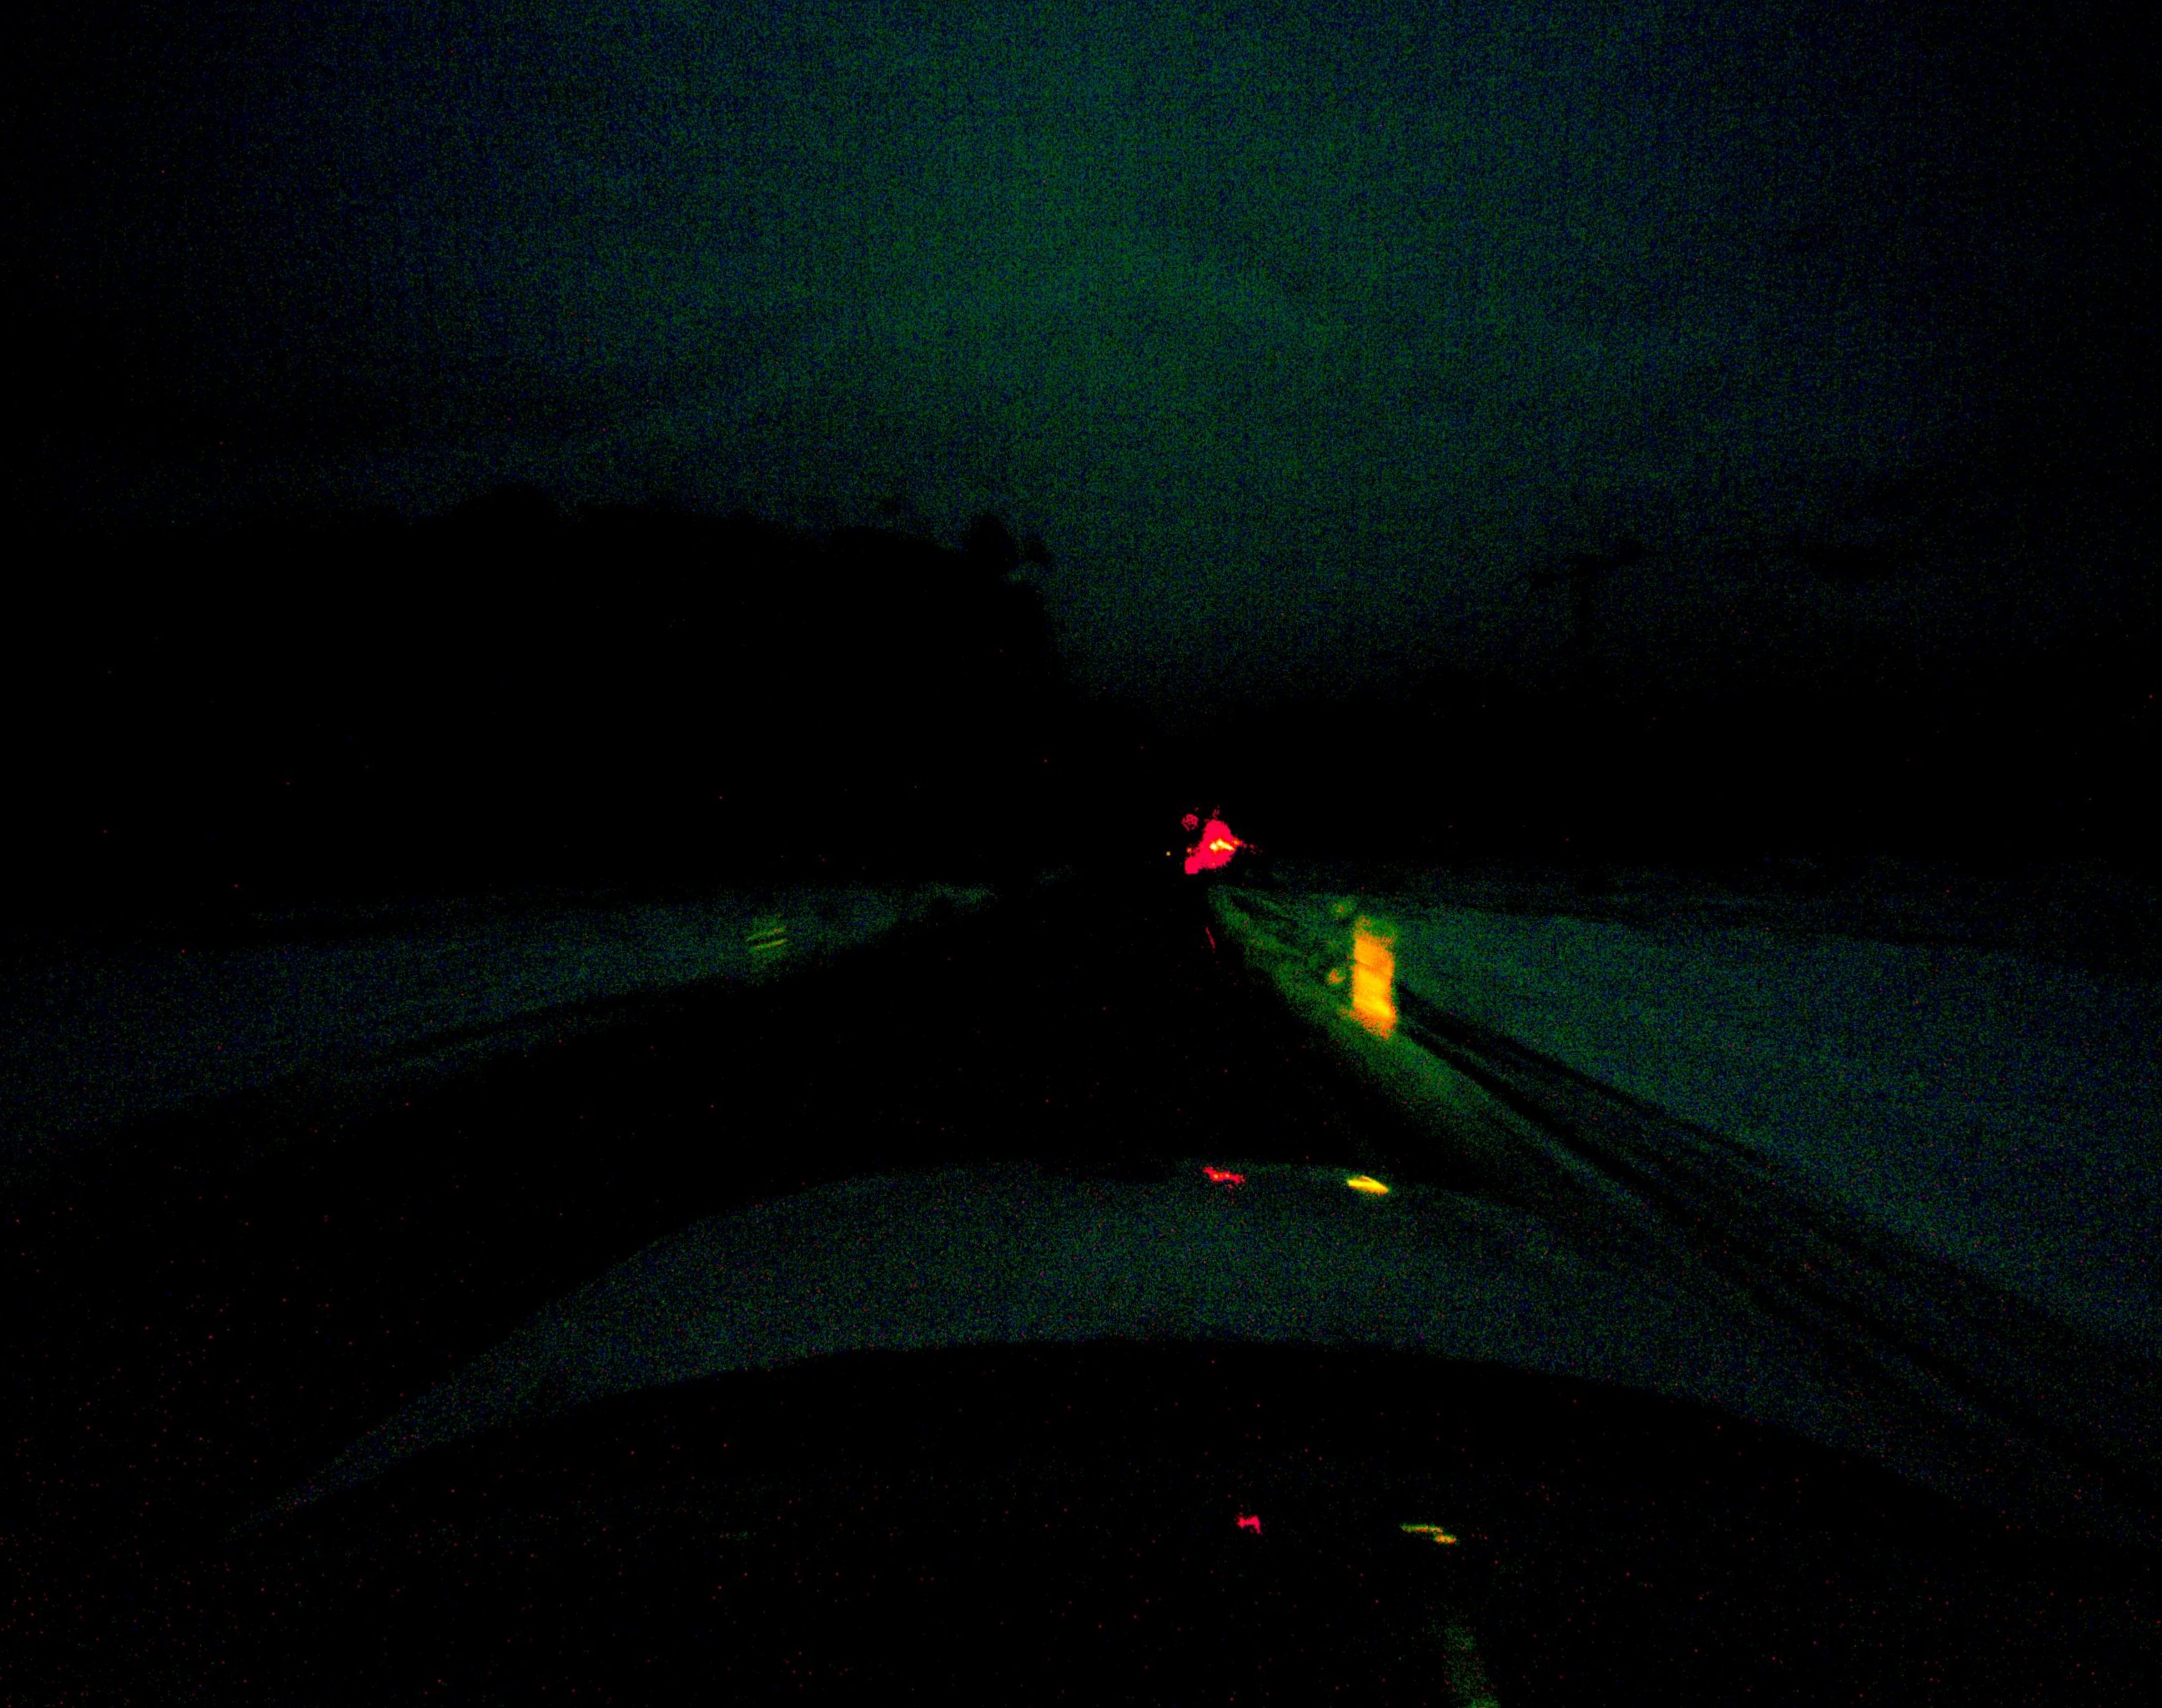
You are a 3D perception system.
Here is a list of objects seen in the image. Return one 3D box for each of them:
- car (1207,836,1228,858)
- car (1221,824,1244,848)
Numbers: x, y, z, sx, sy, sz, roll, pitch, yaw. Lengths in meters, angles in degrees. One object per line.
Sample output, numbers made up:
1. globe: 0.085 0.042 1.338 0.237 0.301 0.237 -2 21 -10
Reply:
1. car: 13.491 -0.740 80.627 1.982 2.051 4.010 0 2 8
2. car: 18.555 -2.186 99.489 2.236 2.645 5.026 -3 0 14
